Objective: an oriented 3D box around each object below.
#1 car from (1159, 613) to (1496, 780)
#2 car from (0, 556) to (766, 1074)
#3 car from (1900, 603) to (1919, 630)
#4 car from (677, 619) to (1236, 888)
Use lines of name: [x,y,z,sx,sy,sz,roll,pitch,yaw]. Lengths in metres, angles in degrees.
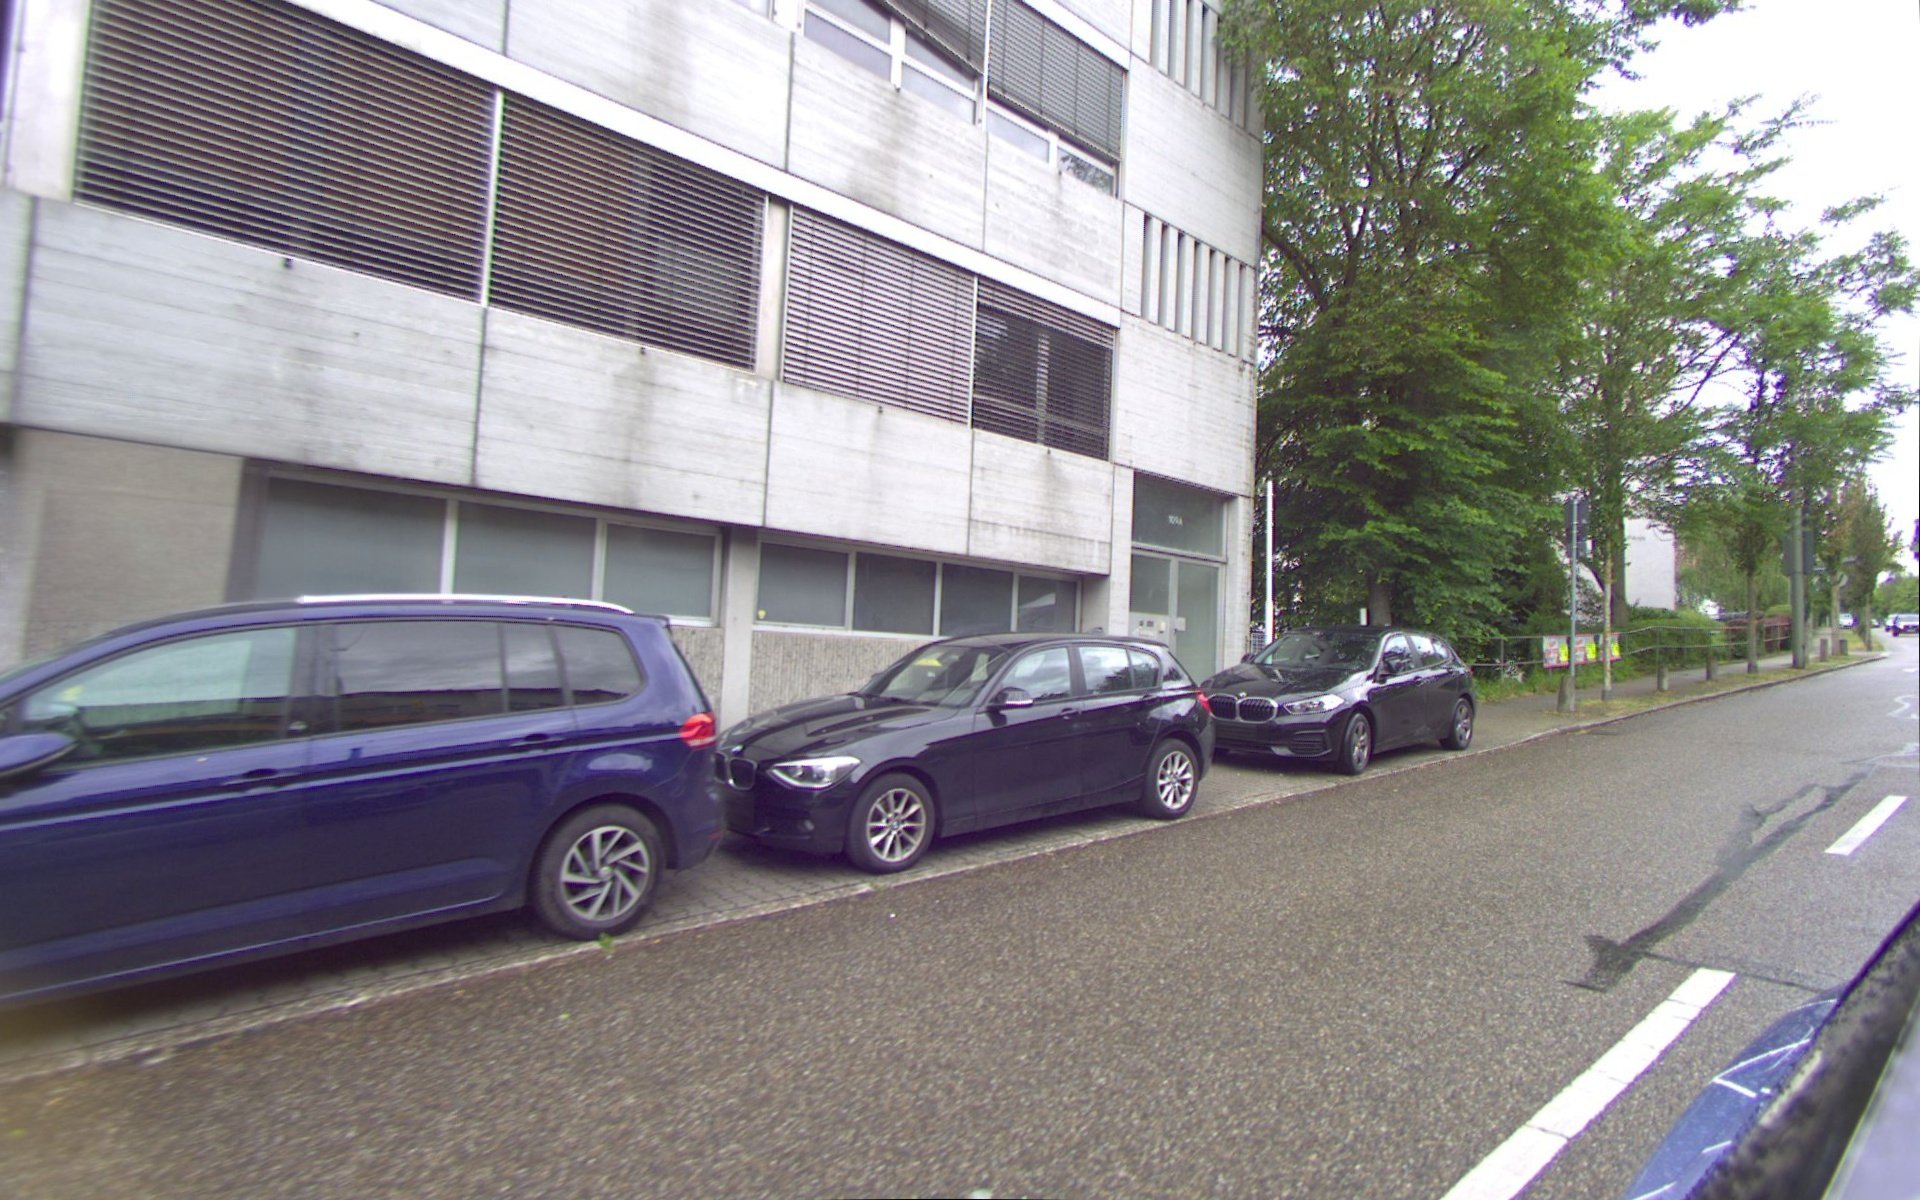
car: [4.211,0.901,11.283,4.084,1.462,1.841,0,0,-42]
car: [-3.167,0.713,4.479,4.269,1.696,1.747,0,-1,-42]
car: [73.662,1.244,77.758,1.992,2.039,3.940,-1,0,42]
car: [0.127,0.897,7.615,4.022,1.463,1.711,0,-1,-38]
